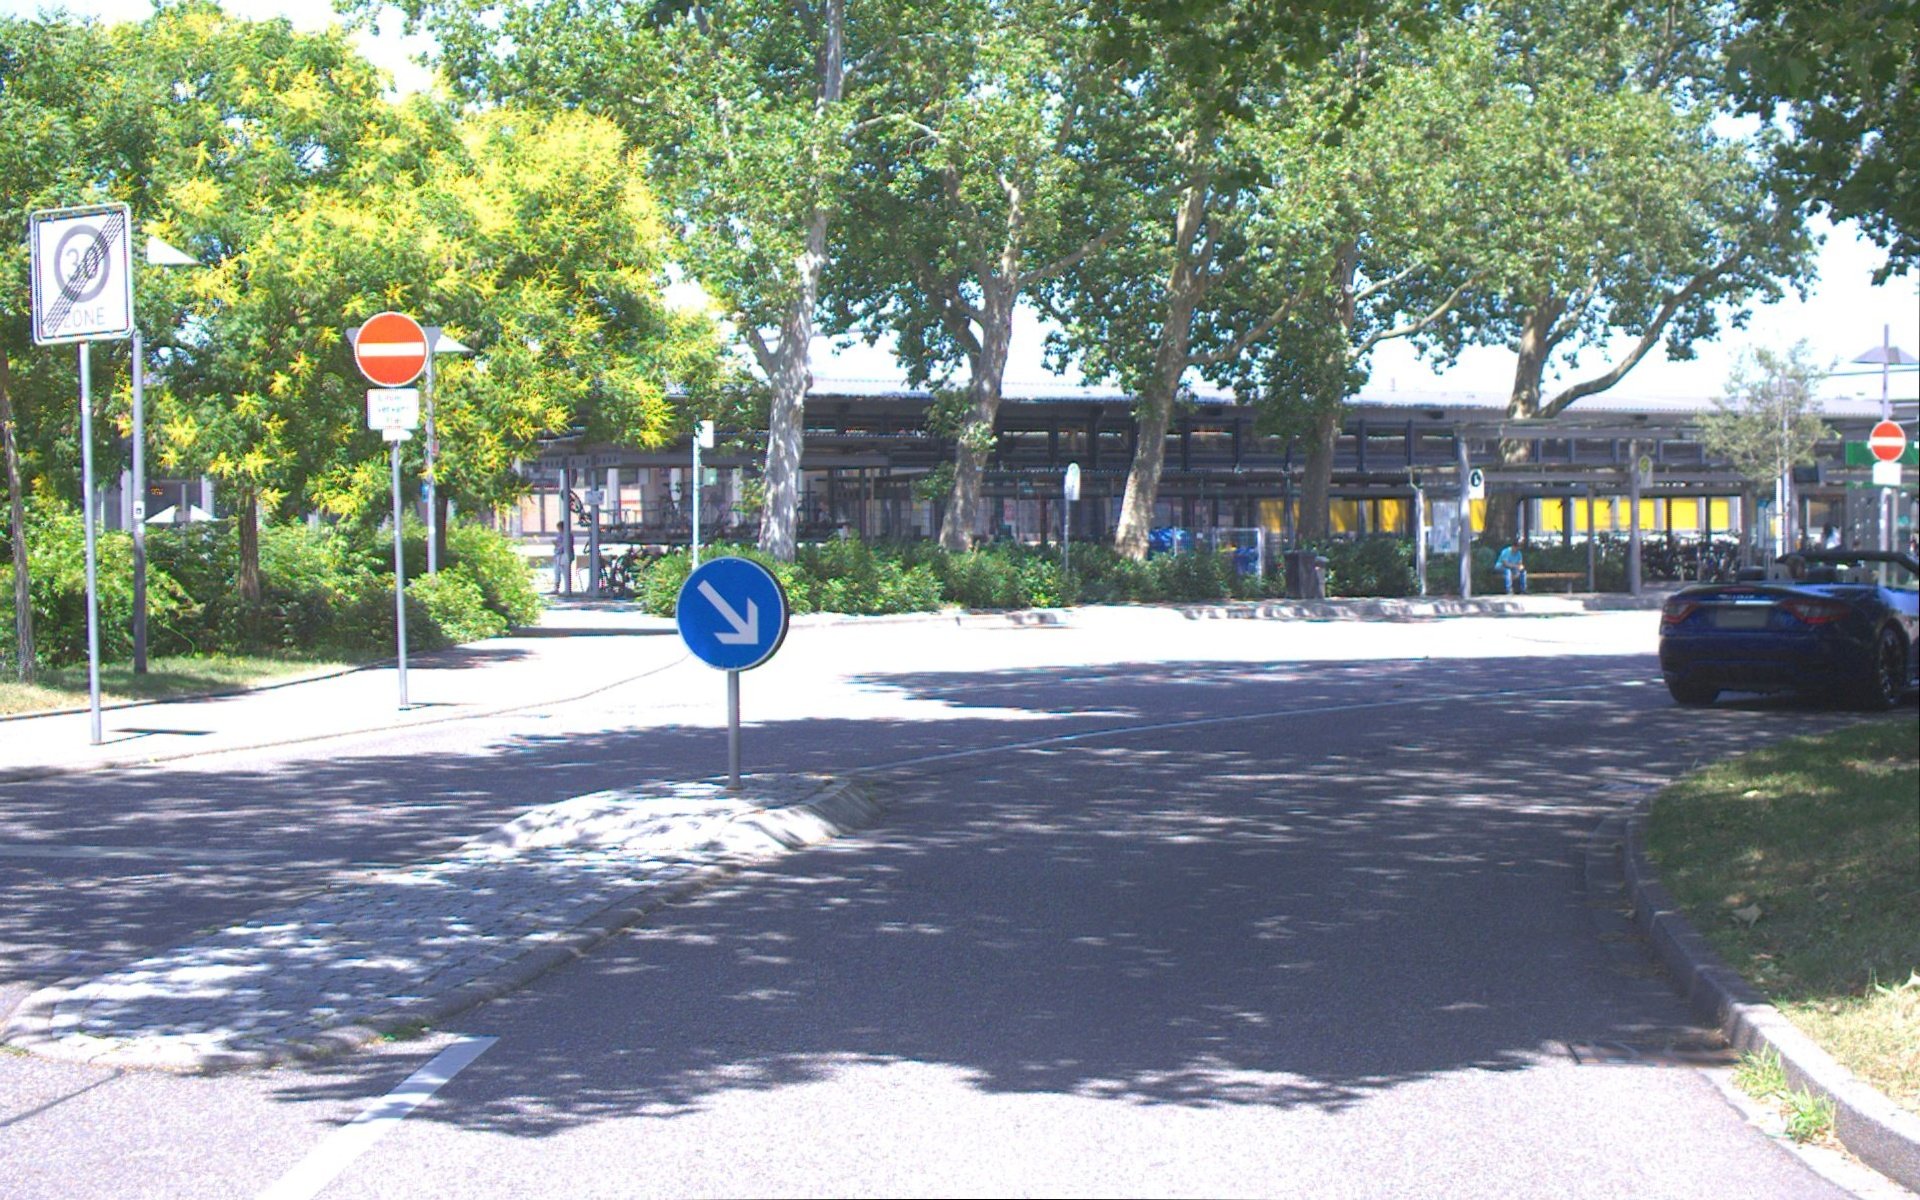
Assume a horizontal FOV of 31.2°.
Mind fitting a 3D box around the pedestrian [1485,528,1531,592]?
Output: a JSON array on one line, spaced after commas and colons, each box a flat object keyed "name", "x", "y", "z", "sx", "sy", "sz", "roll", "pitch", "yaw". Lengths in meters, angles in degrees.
[{"name": "pedestrian", "x": 12.495, "y": -0.914, "z": 78.365, "sx": 0.819, "sy": 1.458, "sz": 0.607, "roll": -1, "pitch": 1, "yaw": -34}]

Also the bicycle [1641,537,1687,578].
[{"name": "bicycle", "x": 18.996, "y": -1.155, "z": 92.788, "sx": 0.385, "sy": 1.090, "sz": 1.386, "roll": 1, "pitch": 0, "yaw": -30}]

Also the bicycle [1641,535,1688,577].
[{"name": "bicycle", "x": 18.610, "y": -1.165, "z": 90.838, "sx": 0.385, "sy": 1.090, "sz": 1.386, "roll": 1, "pitch": 0, "yaw": -31}]

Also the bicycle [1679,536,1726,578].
[{"name": "bicycle", "x": 19.750, "y": -1.144, "z": 91.469, "sx": 0.385, "sy": 1.090, "sz": 1.386, "roll": 1, "pitch": 0, "yaw": -30}]

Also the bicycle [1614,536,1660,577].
[{"name": "bicycle", "x": 18.173, "y": -1.170, "z": 92.288, "sx": 0.385, "sy": 1.090, "sz": 1.386, "roll": 1, "pitch": 0, "yaw": -29}]

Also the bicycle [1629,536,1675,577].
[{"name": "bicycle", "x": 18.634, "y": -1.162, "z": 92.561, "sx": 0.385, "sy": 1.090, "sz": 1.386, "roll": 1, "pitch": 0, "yaw": -30}]

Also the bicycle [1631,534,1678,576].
[{"name": "bicycle", "x": 18.283, "y": -1.172, "z": 90.511, "sx": 0.385, "sy": 1.090, "sz": 1.386, "roll": 1, "pitch": 0, "yaw": -30}]

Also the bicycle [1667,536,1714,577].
[{"name": "bicycle", "x": 19.396, "y": -1.151, "z": 91.254, "sx": 0.385, "sy": 1.090, "sz": 1.386, "roll": 1, "pitch": 0, "yaw": -30}]

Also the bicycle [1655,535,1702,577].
[{"name": "bicycle", "x": 19.027, "y": -1.158, "z": 91.069, "sx": 0.385, "sy": 1.090, "sz": 1.386, "roll": 1, "pitch": 0, "yaw": -30}]

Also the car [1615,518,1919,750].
[{"name": "car", "x": 7.388, "y": 0.220, "z": 29.686, "sx": 2.129, "sy": 1.842, "sz": 4.041, "roll": 1, "pitch": 1, "yaw": 31}]

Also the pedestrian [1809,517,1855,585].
[{"name": "pedestrian", "x": 21.162, "y": -1.196, "z": 83.428, "sx": 0.821, "sy": 1.611, "sz": 0.767, "roll": 1, "pitch": 3, "yaw": 40}]
